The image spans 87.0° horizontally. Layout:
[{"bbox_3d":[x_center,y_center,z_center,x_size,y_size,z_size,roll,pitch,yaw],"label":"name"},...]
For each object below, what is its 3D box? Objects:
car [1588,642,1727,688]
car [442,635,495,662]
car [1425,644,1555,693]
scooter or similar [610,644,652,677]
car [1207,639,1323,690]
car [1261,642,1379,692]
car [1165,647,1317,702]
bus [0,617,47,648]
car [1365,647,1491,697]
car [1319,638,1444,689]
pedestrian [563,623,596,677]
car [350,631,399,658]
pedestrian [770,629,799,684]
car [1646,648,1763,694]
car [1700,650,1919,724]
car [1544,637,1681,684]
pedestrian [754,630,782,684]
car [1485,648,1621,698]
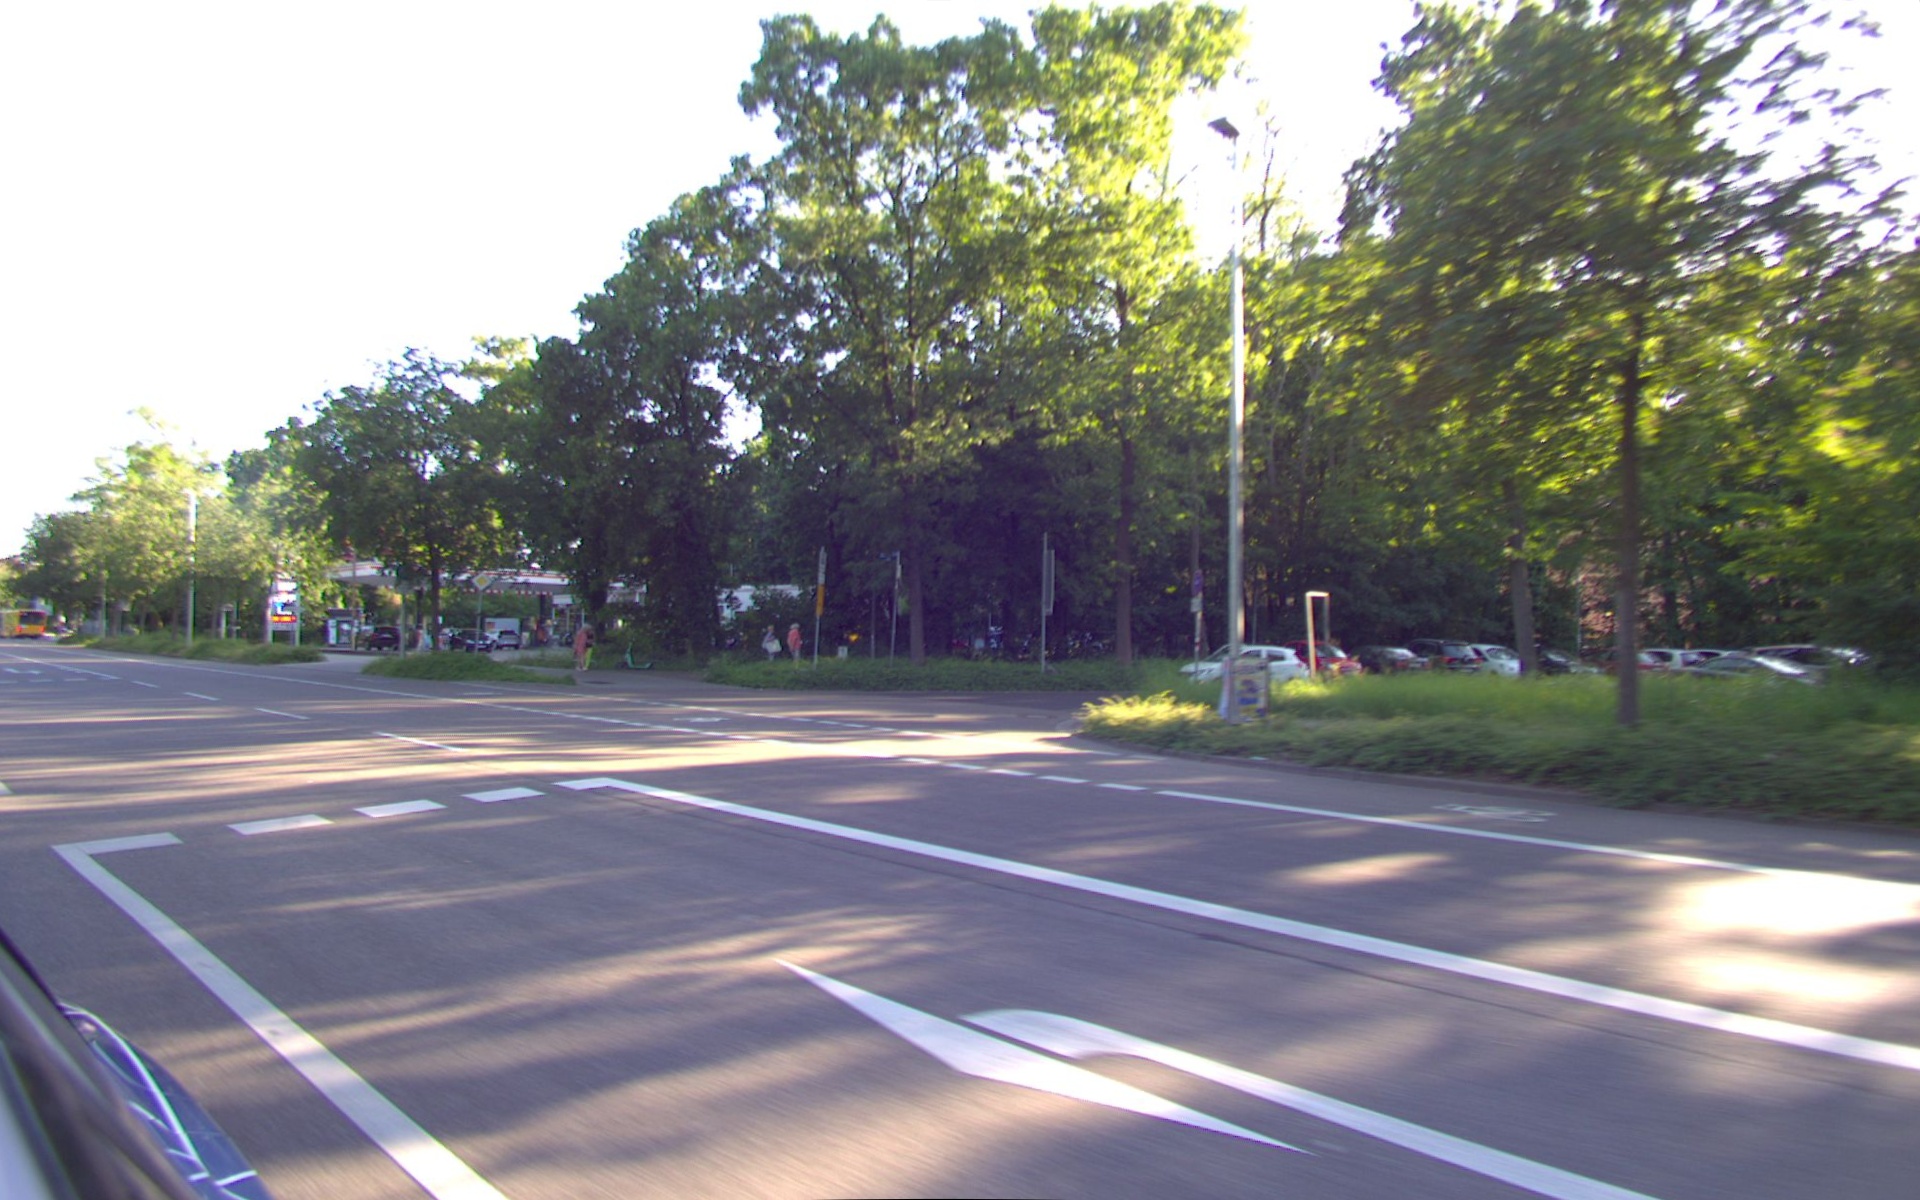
[{"bbox_3d":[27.534,2.534,40.118,1.800,1.666,4.304,4,-3,-17],"label":"car"},{"bbox_3d":[-31.119,3.071,64.004,3.838,1.653,1.734,-2,-3,44],"label":"car"},{"bbox_3d":[19.989,2.539,38.376,1.800,1.666,4.304,4,-3,-17],"label":"car"},{"bbox_3d":[-11.522,2.102,35.443,1.333,1.140,0.462,0,-3,17],"label":"scooter or similar"},{"bbox_3d":[10.605,2.221,35.572,1.799,1.666,4.304,1,-3,-17],"label":"car"},{"bbox_3d":[12.921,2.378,36.647,1.799,1.666,4.304,1,-3,-17],"label":"car"},{"bbox_3d":[8.245,2.167,29.799,3.877,1.537,1.836,1,-3,-15],"label":"car"},{"bbox_3d":[-108.919,3.801,117.139,9.465,3.434,3.002,-1,-3,37],"label":"bus"},{"bbox_3d":[17.228,2.617,37.488,1.800,1.666,4.304,4,-3,-17],"label":"car"},{"bbox_3d":[15.142,2.245,36.631,1.800,1.666,4.304,4,-3,-17],"label":"car"},{"bbox_3d":[-13.075,1.722,34.791,0.824,1.833,0.735,0,-3,5],"label":"pedestrian"},{"bbox_3d":[-37.229,2.796,64.322,3.613,1.653,1.734,-2,-3,44],"label":"car"},{"bbox_3d":[-5.911,1.888,34.066,0.820,1.833,0.738,1,-3,-19],"label":"pedestrian"},{"bbox_3d":[30.033,2.842,40.943,1.543,1.741,3.622,1,-2,-13],"label":"car"},{"bbox_3d":[21.661,2.144,25.764,1.799,1.666,4.304,1,-3,-17],"label":"car"},{"bbox_3d":[25.216,2.313,39.285,1.800,1.666,4.304,4,-3,-17],"label":"car"},{"bbox_3d":[-6.618,1.963,34.871,0.820,1.833,0.738,1,-3,-19],"label":"pedestrian"},{"bbox_3d":[22.310,2.707,38.280,1.800,1.666,4.304,4,-3,-17],"label":"car"}]
